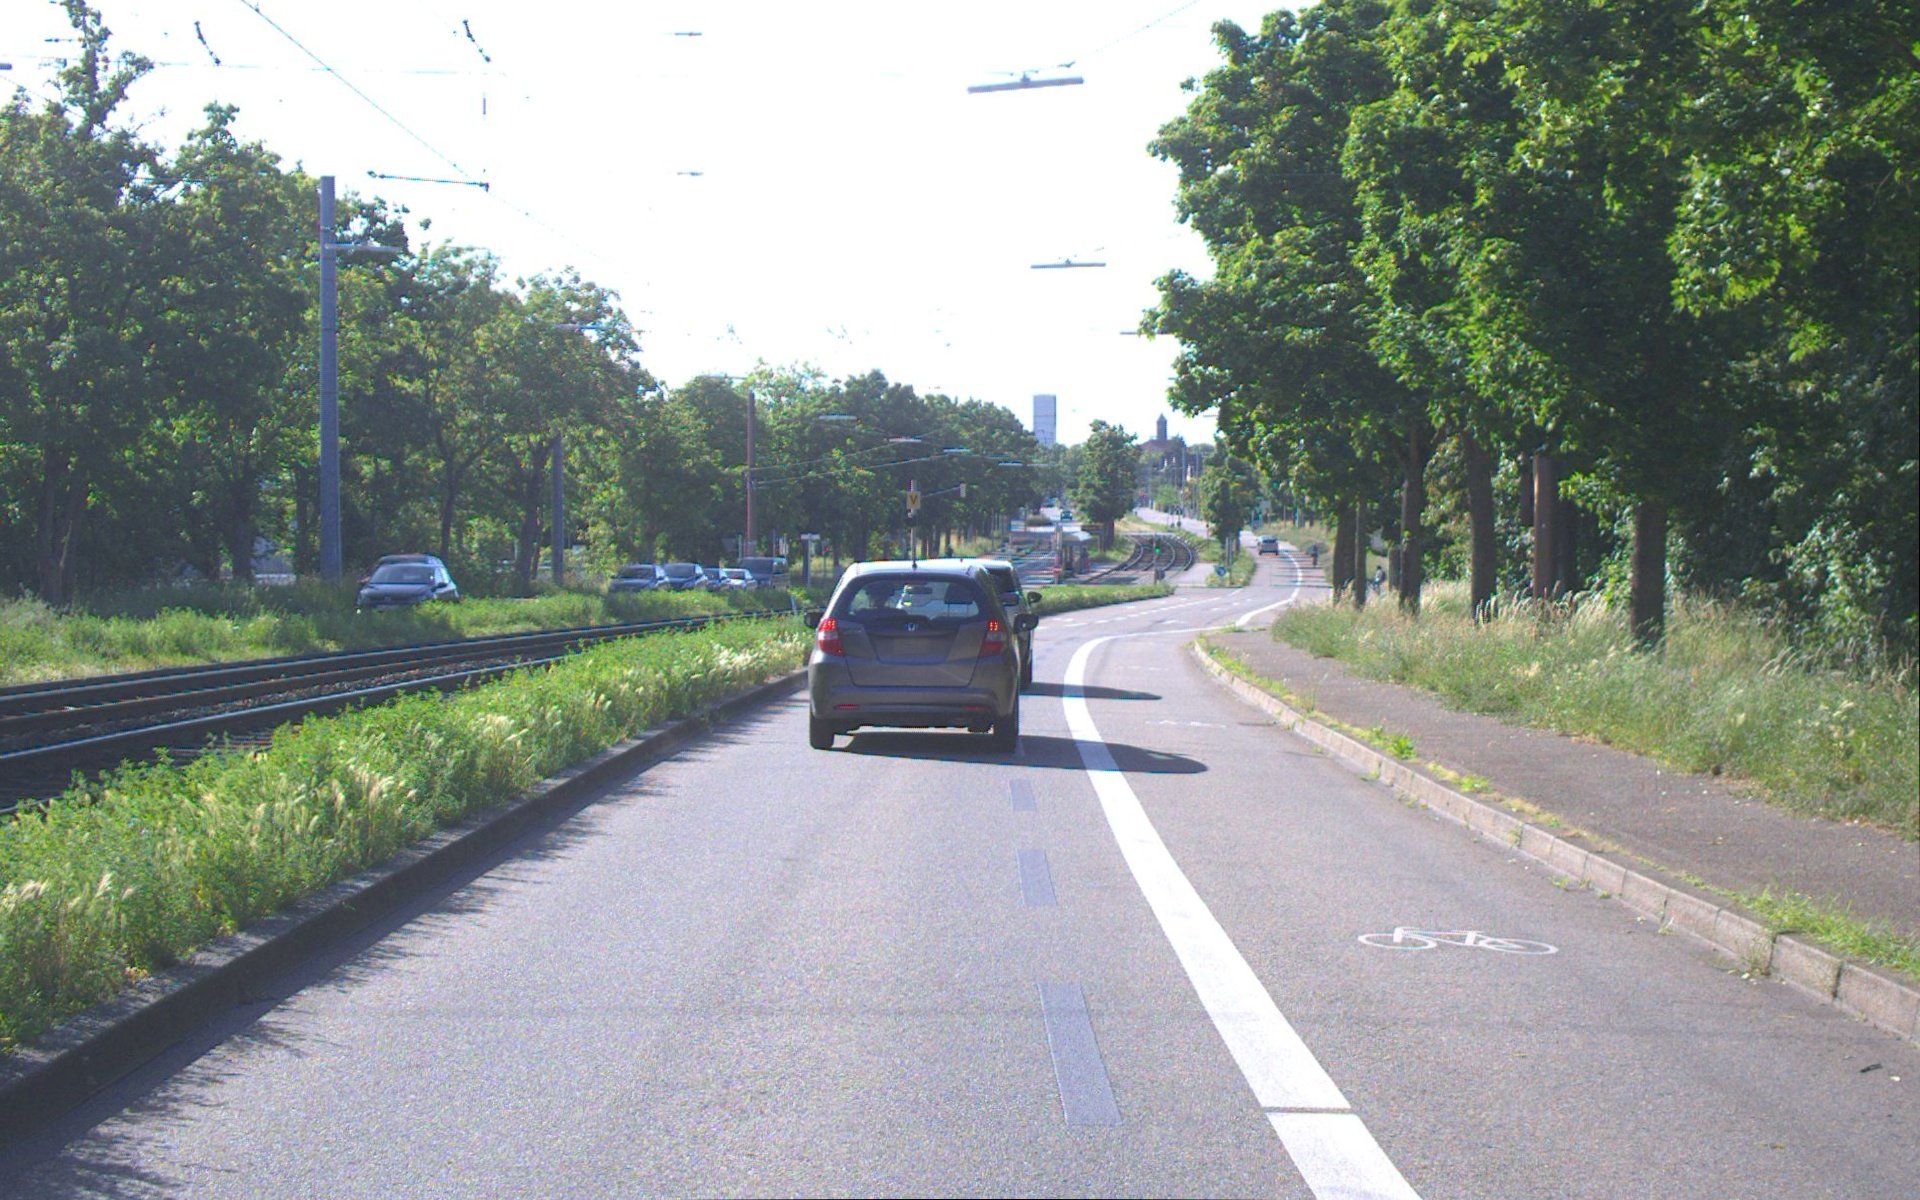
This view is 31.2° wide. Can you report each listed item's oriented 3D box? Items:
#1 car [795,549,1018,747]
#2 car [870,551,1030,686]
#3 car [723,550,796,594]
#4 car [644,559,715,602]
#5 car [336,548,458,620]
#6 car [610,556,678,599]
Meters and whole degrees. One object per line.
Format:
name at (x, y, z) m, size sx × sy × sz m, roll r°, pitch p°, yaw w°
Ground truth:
car at (-0.450, 0.344, 28.894) m, size 1.707 × 1.503 × 4.000 m, roll 2°, pitch 1°, yaw -1°
car at (-0.079, 0.195, 43.663) m, size 1.851 × 1.601 × 4.254 m, roll 1°, pitch 1°, yaw 2°
car at (-8.868, -1.257, 152.568) m, size 2.198 × 1.885 × 4.789 m, roll 1°, pitch 1°, yaw 9°
car at (-10.941, -0.773, 134.370) m, size 1.994 × 1.569 × 4.434 m, roll 1°, pitch 1°, yaw 5°
car at (-12.043, -0.352, 73.766) m, size 1.710 × 1.474 × 4.000 m, roll 1°, pitch 1°, yaw 4°
car at (-11.714, -0.824, 127.619) m, size 1.735 × 1.489 × 4.327 m, roll 2°, pitch 0°, yaw 5°
